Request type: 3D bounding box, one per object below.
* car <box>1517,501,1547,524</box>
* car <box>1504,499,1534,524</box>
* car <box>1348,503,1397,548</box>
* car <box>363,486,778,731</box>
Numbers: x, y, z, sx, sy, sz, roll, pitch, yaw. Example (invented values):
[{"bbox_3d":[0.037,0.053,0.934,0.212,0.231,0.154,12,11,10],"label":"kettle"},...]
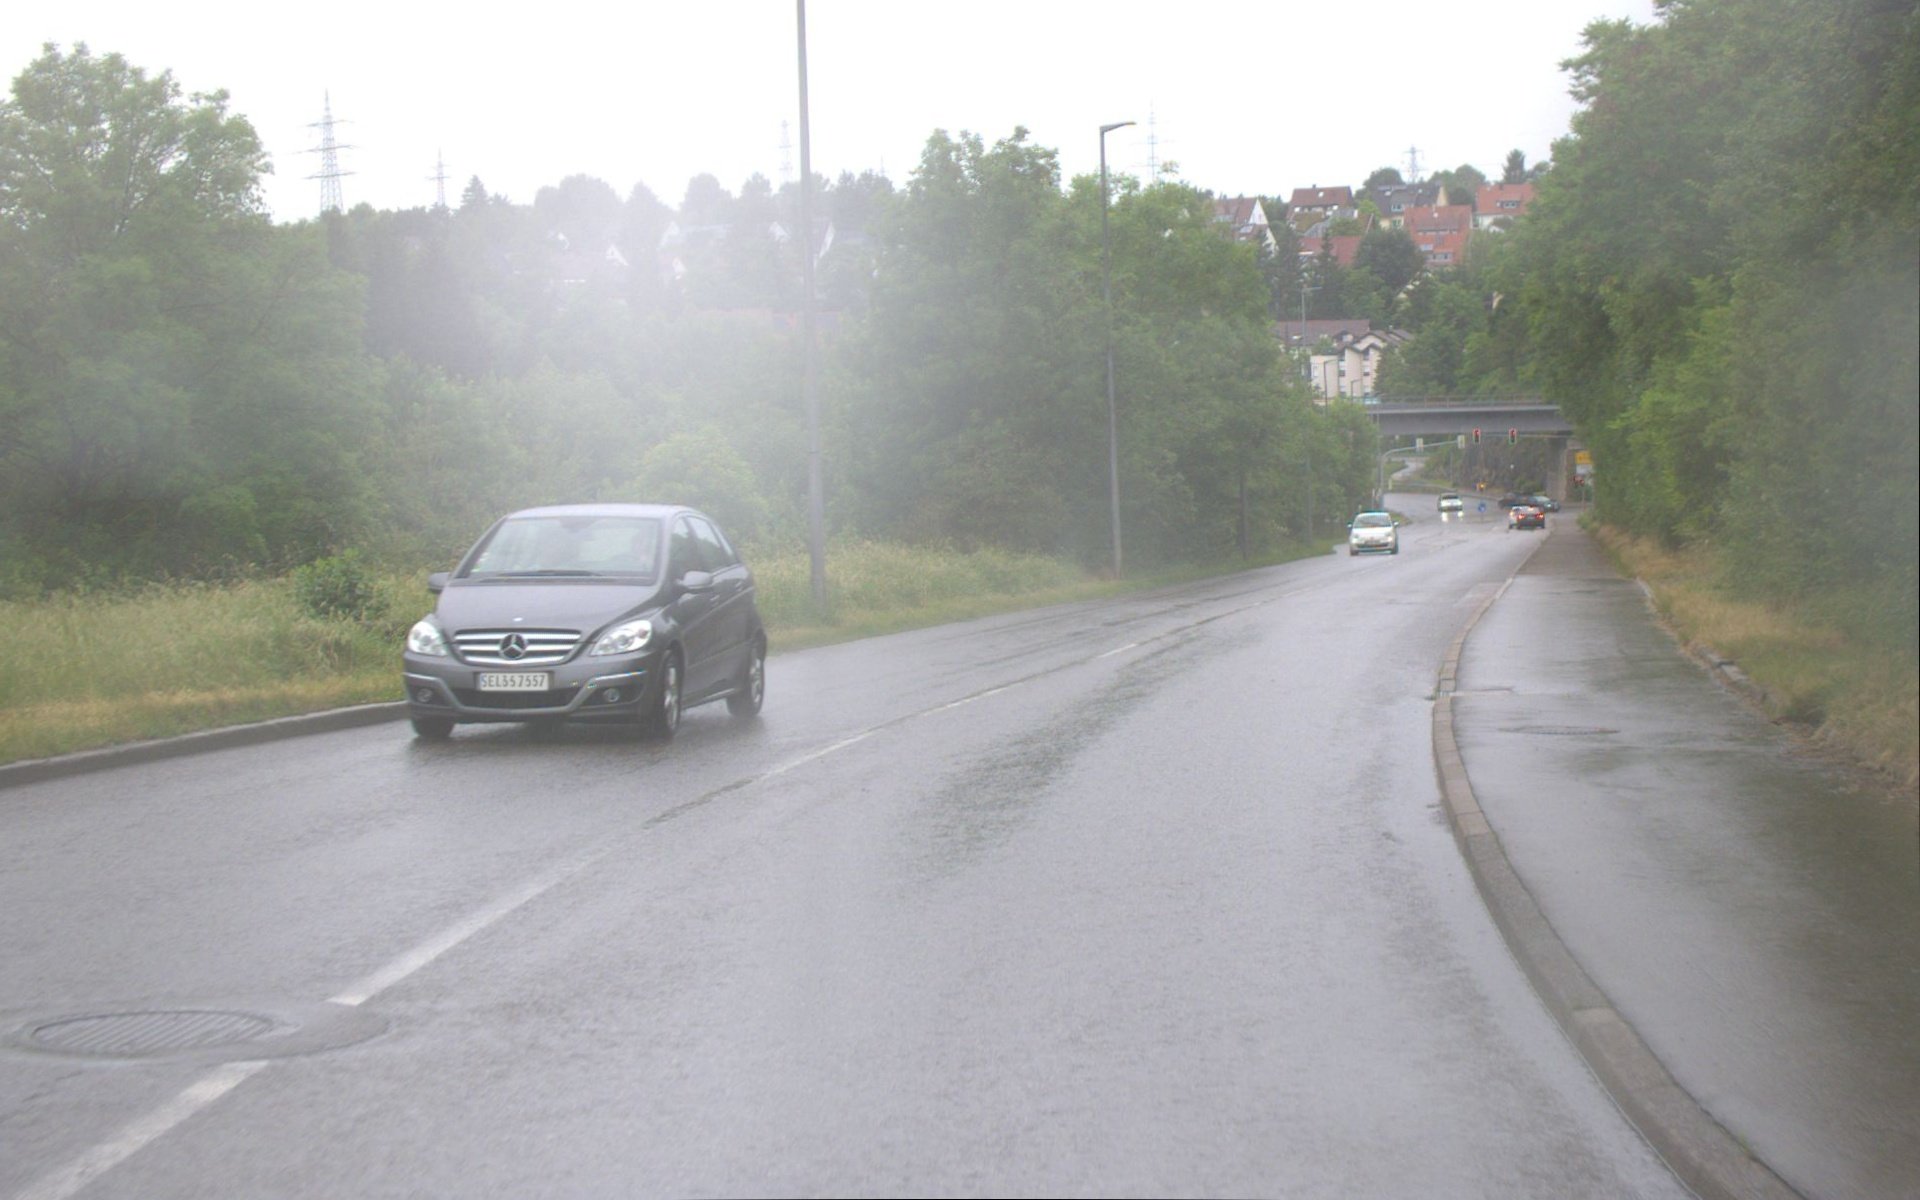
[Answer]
[{"bbox_3d":[36.930,-5.626,222.025,1.769,1.375,3.998,-3,1,11],"label":"car"},{"bbox_3d":[37.166,-5.875,228.639,1.769,1.557,3.998,-3,1,11],"label":"car"},{"bbox_3d":[14.577,-2.645,121.673,1.639,1.483,3.453,-3,1,7],"label":"car"},{"bbox_3d":[-2.619,0.004,24.141,1.865,1.546,4.265,1,1,8],"label":"car"}]
